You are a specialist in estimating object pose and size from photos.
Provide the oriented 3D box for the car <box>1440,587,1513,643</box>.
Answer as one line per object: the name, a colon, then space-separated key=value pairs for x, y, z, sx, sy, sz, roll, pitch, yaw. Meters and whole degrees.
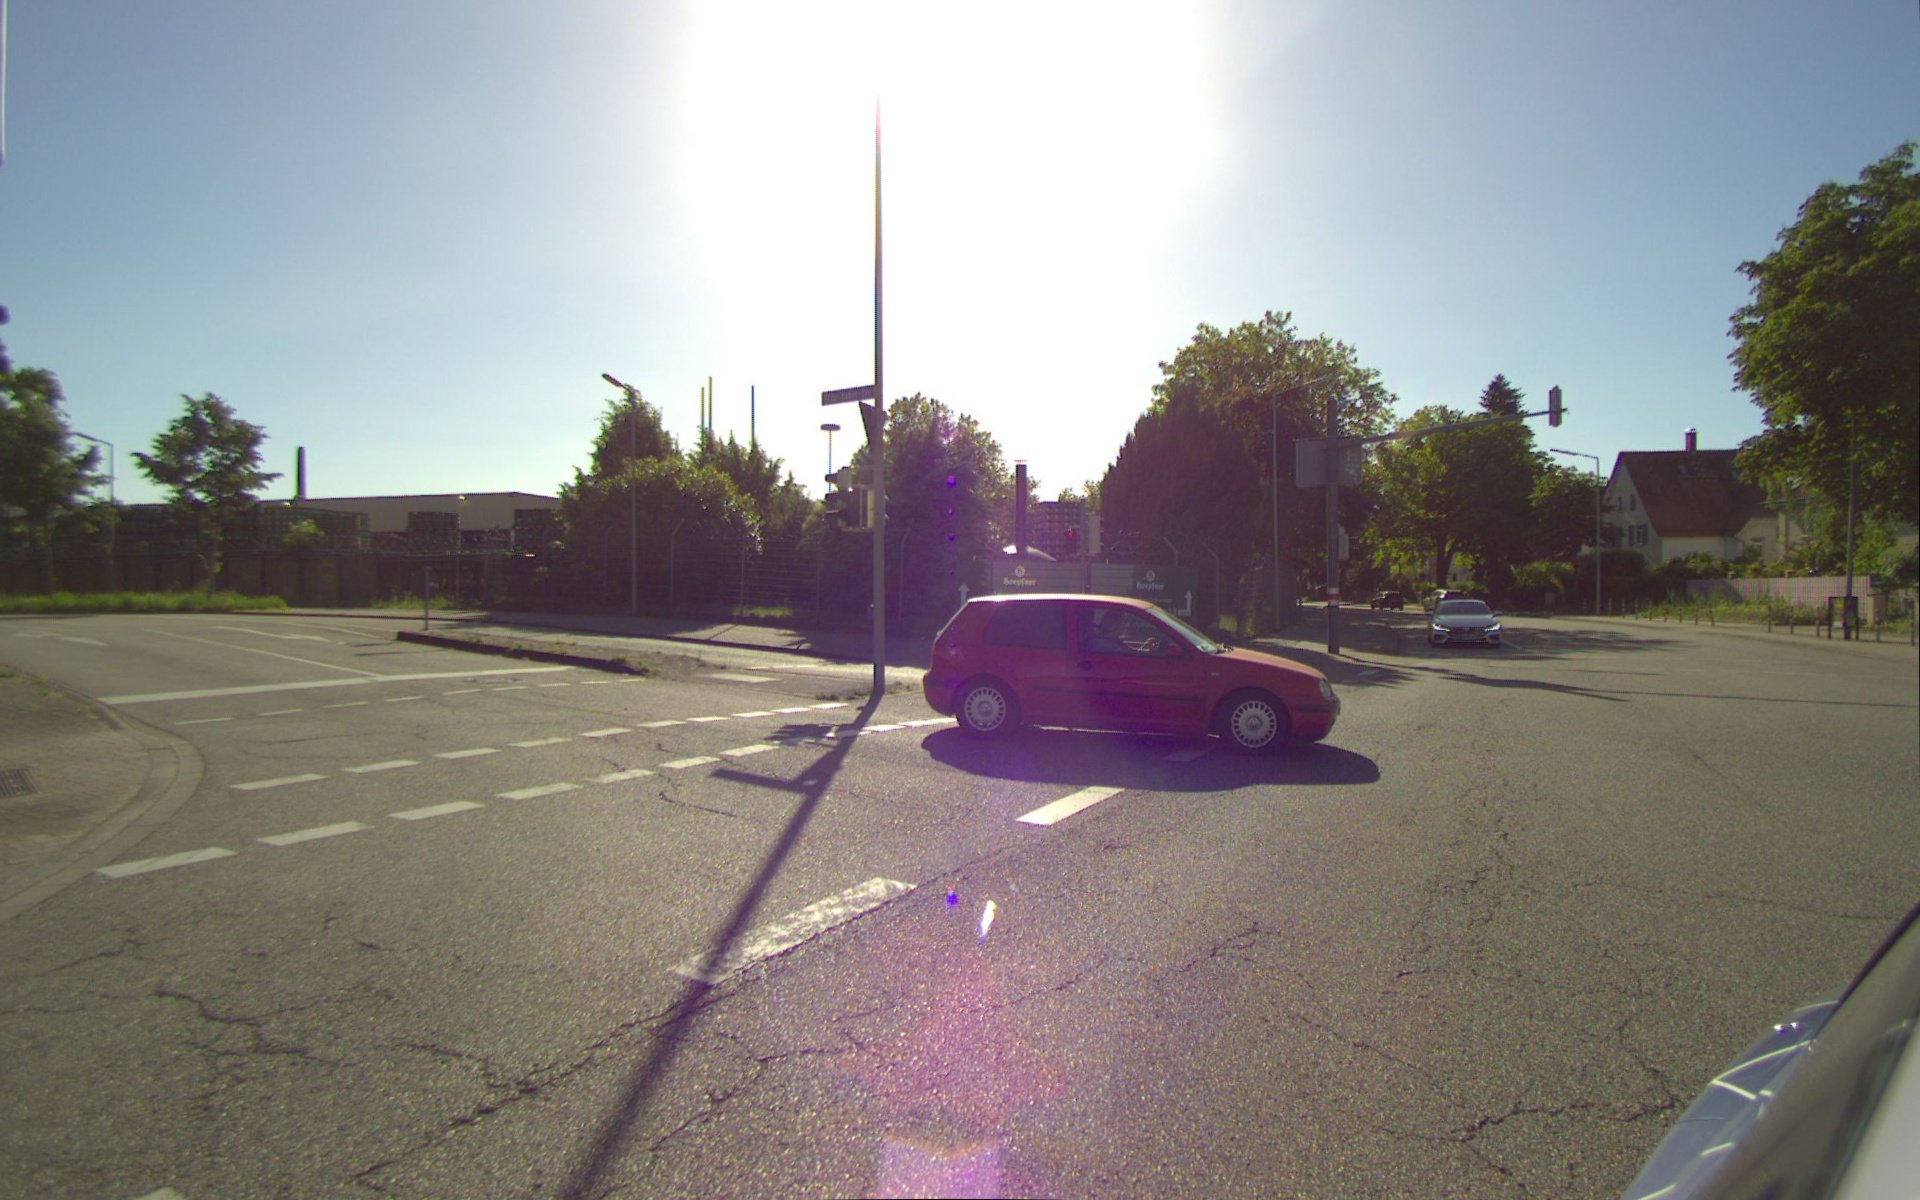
car: x=15.449 y=0.390 z=30.434 sx=1.791 sy=1.551 sz=4.476 roll=0 pitch=1 yaw=25

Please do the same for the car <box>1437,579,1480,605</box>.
car: x=32.755 y=-0.550 z=66.601 sx=1.837 sy=1.655 sz=4.233 roll=1 pitch=0 yaw=17
